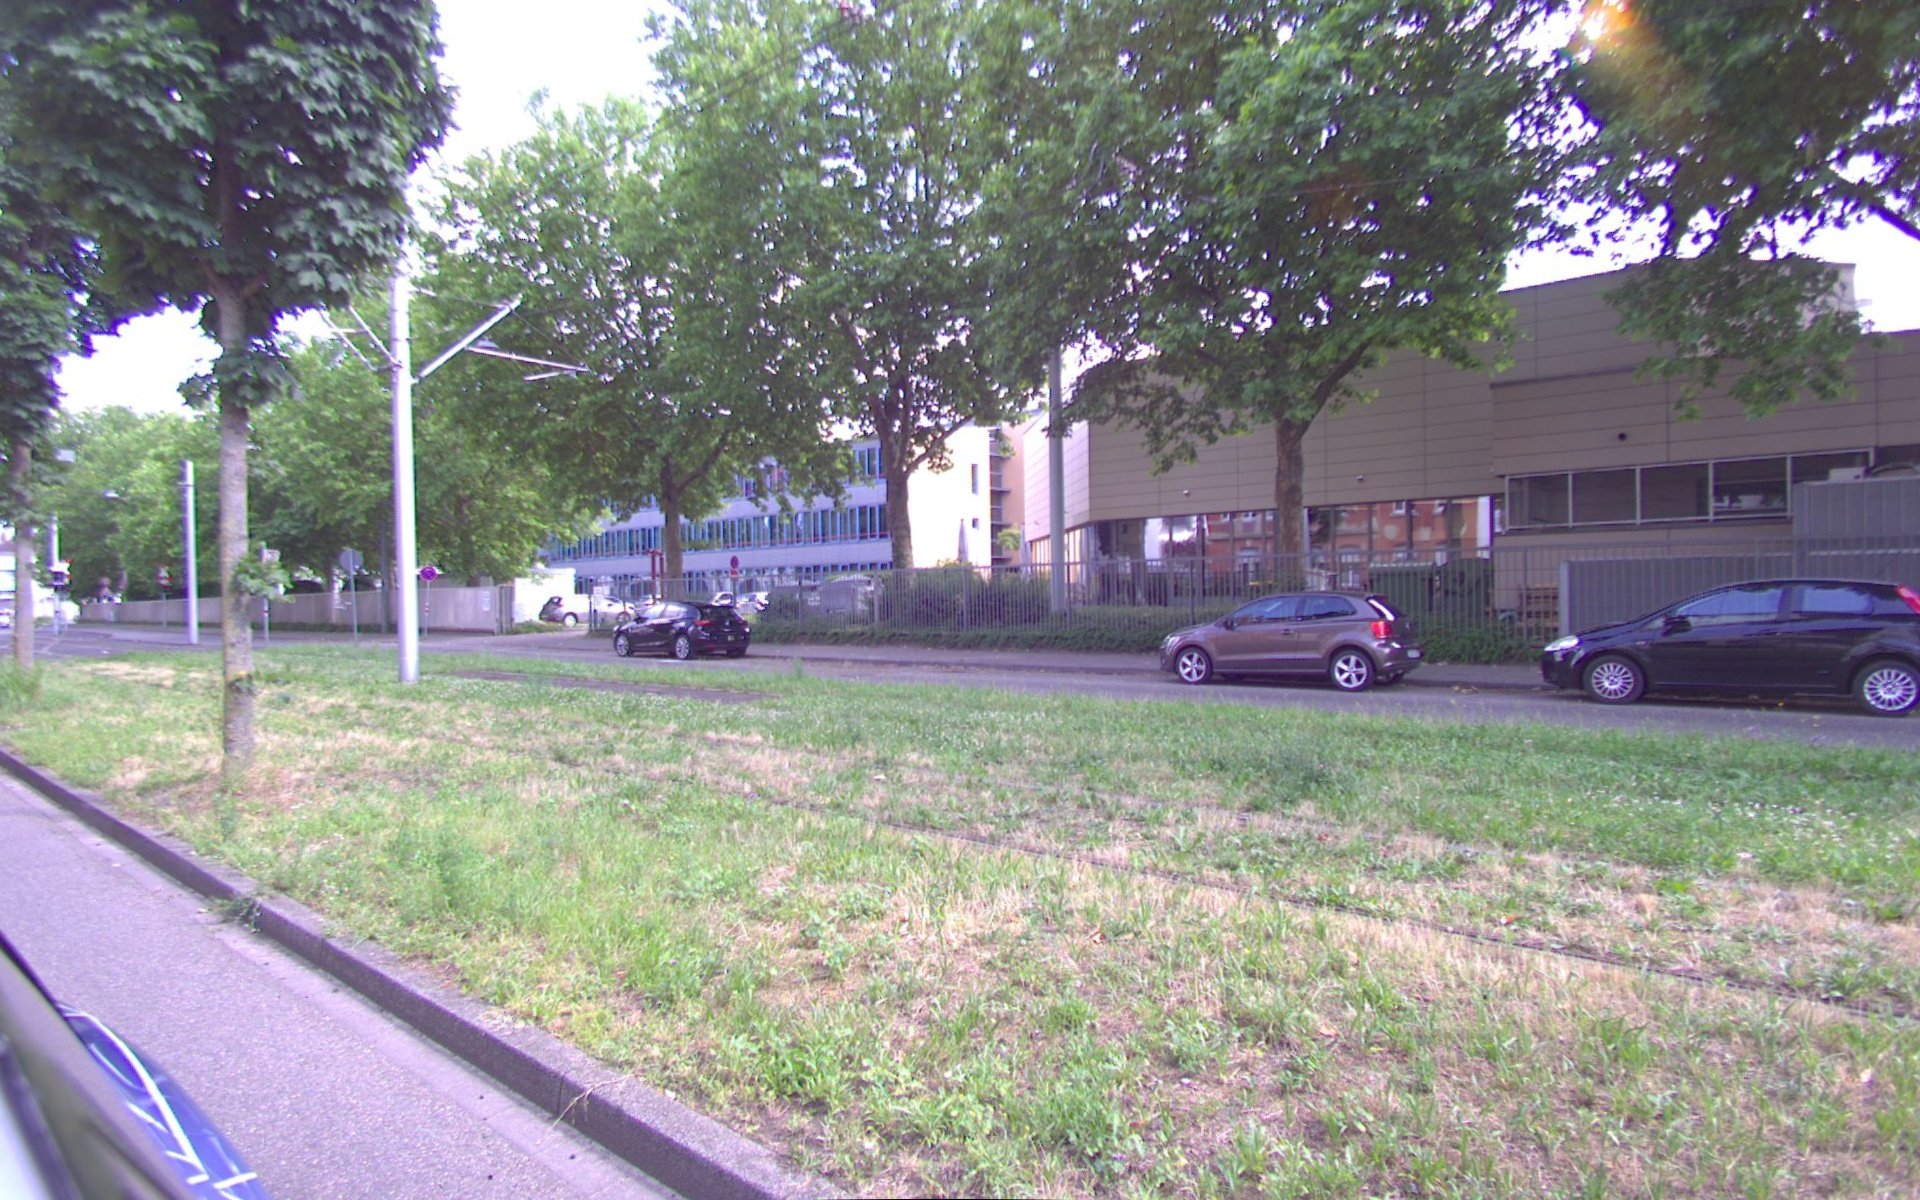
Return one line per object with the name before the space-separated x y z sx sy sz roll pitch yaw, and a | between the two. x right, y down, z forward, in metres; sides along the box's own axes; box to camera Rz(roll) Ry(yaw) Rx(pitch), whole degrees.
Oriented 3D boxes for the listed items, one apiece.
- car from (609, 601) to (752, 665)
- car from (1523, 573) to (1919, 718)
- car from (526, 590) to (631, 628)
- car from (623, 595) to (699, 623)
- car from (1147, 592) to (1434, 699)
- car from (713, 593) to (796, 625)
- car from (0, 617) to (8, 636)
car | -7.152 0.808 25.676 3.999 1.475 1.580 -1 0 42
car | 9.129 0.461 11.967 4.000 1.464 1.783 -1 0 43
car | -17.002 0.379 45.233 1.998 1.630 3.948 -1 0 39
car | -17.917 0.527 60.764 1.998 1.630 3.948 -1 0 39
car | 4.984 0.631 15.549 3.899 1.436 1.538 -1 0 40
car | -10.862 0.441 53.639 1.998 1.630 3.948 -1 0 39
car | -80.384 2.253 83.828 4.038 1.541 1.778 -1 1 40
